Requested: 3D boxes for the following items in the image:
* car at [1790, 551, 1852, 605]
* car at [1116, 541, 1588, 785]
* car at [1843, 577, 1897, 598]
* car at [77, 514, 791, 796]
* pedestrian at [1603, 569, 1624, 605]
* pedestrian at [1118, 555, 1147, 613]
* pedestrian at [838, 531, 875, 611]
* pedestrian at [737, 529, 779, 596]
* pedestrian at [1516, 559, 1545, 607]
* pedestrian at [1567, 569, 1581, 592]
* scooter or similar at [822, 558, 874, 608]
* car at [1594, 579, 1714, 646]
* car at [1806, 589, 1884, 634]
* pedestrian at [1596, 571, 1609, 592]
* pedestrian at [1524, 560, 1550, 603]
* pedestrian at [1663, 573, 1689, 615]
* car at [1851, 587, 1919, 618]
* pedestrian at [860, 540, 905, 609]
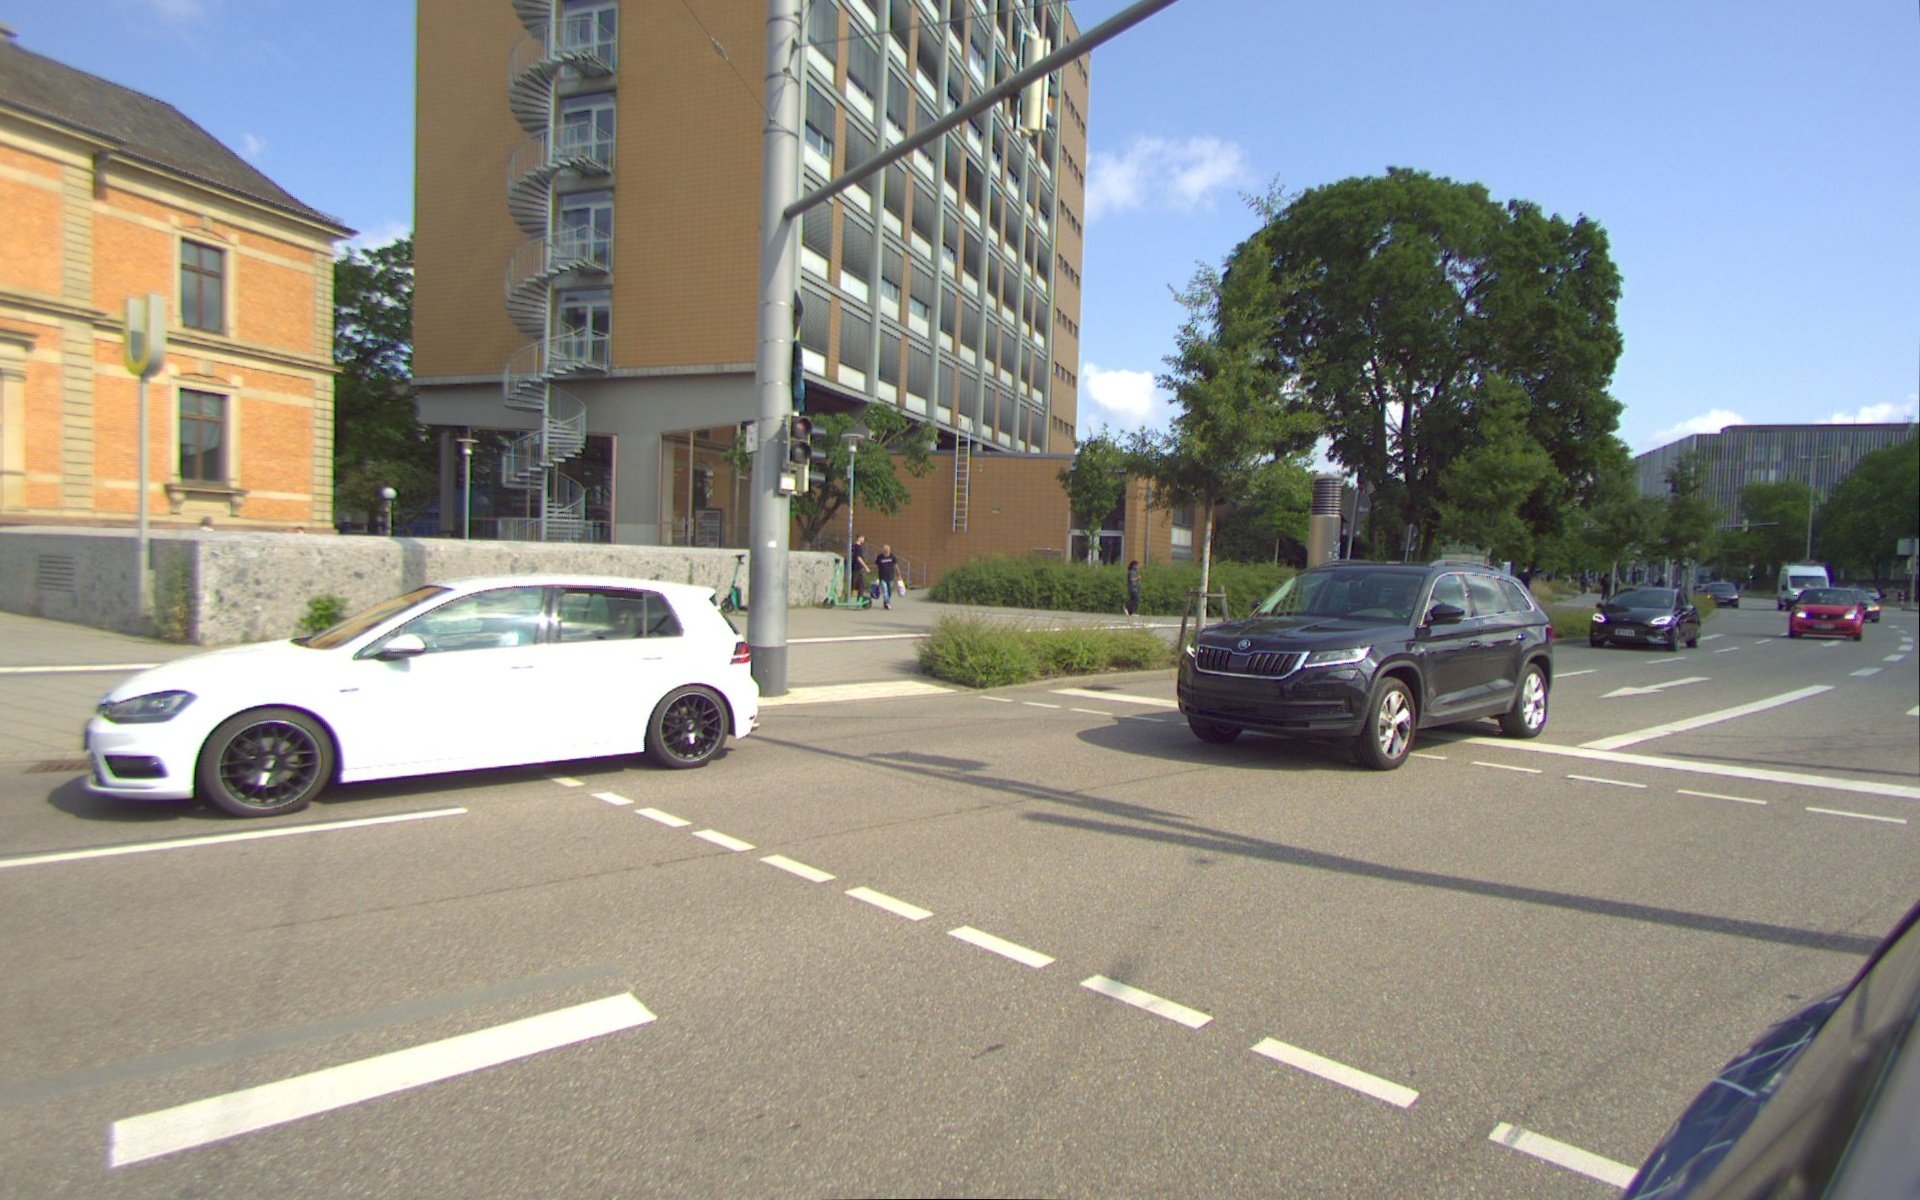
[{"bbox_3d":[50.333,-1.289,59.278,2.475,2.914,6.062,3,3,39],"label":"car"},{"bbox_3d":[3.728,0.387,9.225,4.600,1.689,1.998,-1,2,-39],"label":"car"},{"bbox_3d":[75.822,-1.002,84.415,1.977,1.705,4.309,-1,-1,23],"label":"car"},{"bbox_3d":[-3.456,0.391,7.228,4.155,1.465,1.682,3,-4,-39],"label":"car"},{"bbox_3d":[38.019,-0.760,58.881,0.980,2.039,1.116,-1,-1,34],"label":"pedestrian"},{"bbox_3d":[4.610,-0.426,27.039,0.569,1.539,0.481,0,1,-27],"label":"pedestrian"},{"bbox_3d":[-2.688,-0.759,26.315,0.793,2.038,0.724,2,2,4],"label":"pedestrian"},{"bbox_3d":[-5.089,-0.947,25.538,0.919,1.607,0.766,3,2,-9],"label":"pedestrian"},{"bbox_3d":[22.862,-0.690,40.551,0.633,1.894,0.760,0,3,-40],"label":"pedestrian"},{"bbox_3d":[56.614,-1.800,93.364,0.980,2.038,1.117,3,2,34],"label":"pedestrian"},{"bbox_3d":[-2.640,-0.401,23.850,1.164,1.144,0.403,2,0,-1],"label":"scooter or similar"},{"bbox_3d":[16.722,0.267,24.300,1.709,1.472,3.935,1,0,45],"label":"car"},{"bbox_3d":[26.567,0.327,30.351,1.604,1.230,2.963,-1,0,44],"label":"car"},{"bbox_3d":[63.438,-1.840,99.885,0.980,2.038,1.117,3,2,33],"label":"pedestrian"},{"bbox_3d":[24.503,-0.776,42.982,0.633,1.767,0.672,0,3,-40],"label":"pedestrian"},{"bbox_3d":[35.763,-0.292,50.556,0.980,2.039,1.116,-1,-1,34],"label":"pedestrian"},{"bbox_3d":[40.118,0.110,43.819,4.470,1.297,1.994,0,-1,-44],"label":"car"},{"bbox_3d":[-1.876,-0.629,24.620,0.764,1.607,0.759,4,2,23],"label":"pedestrian"}]
